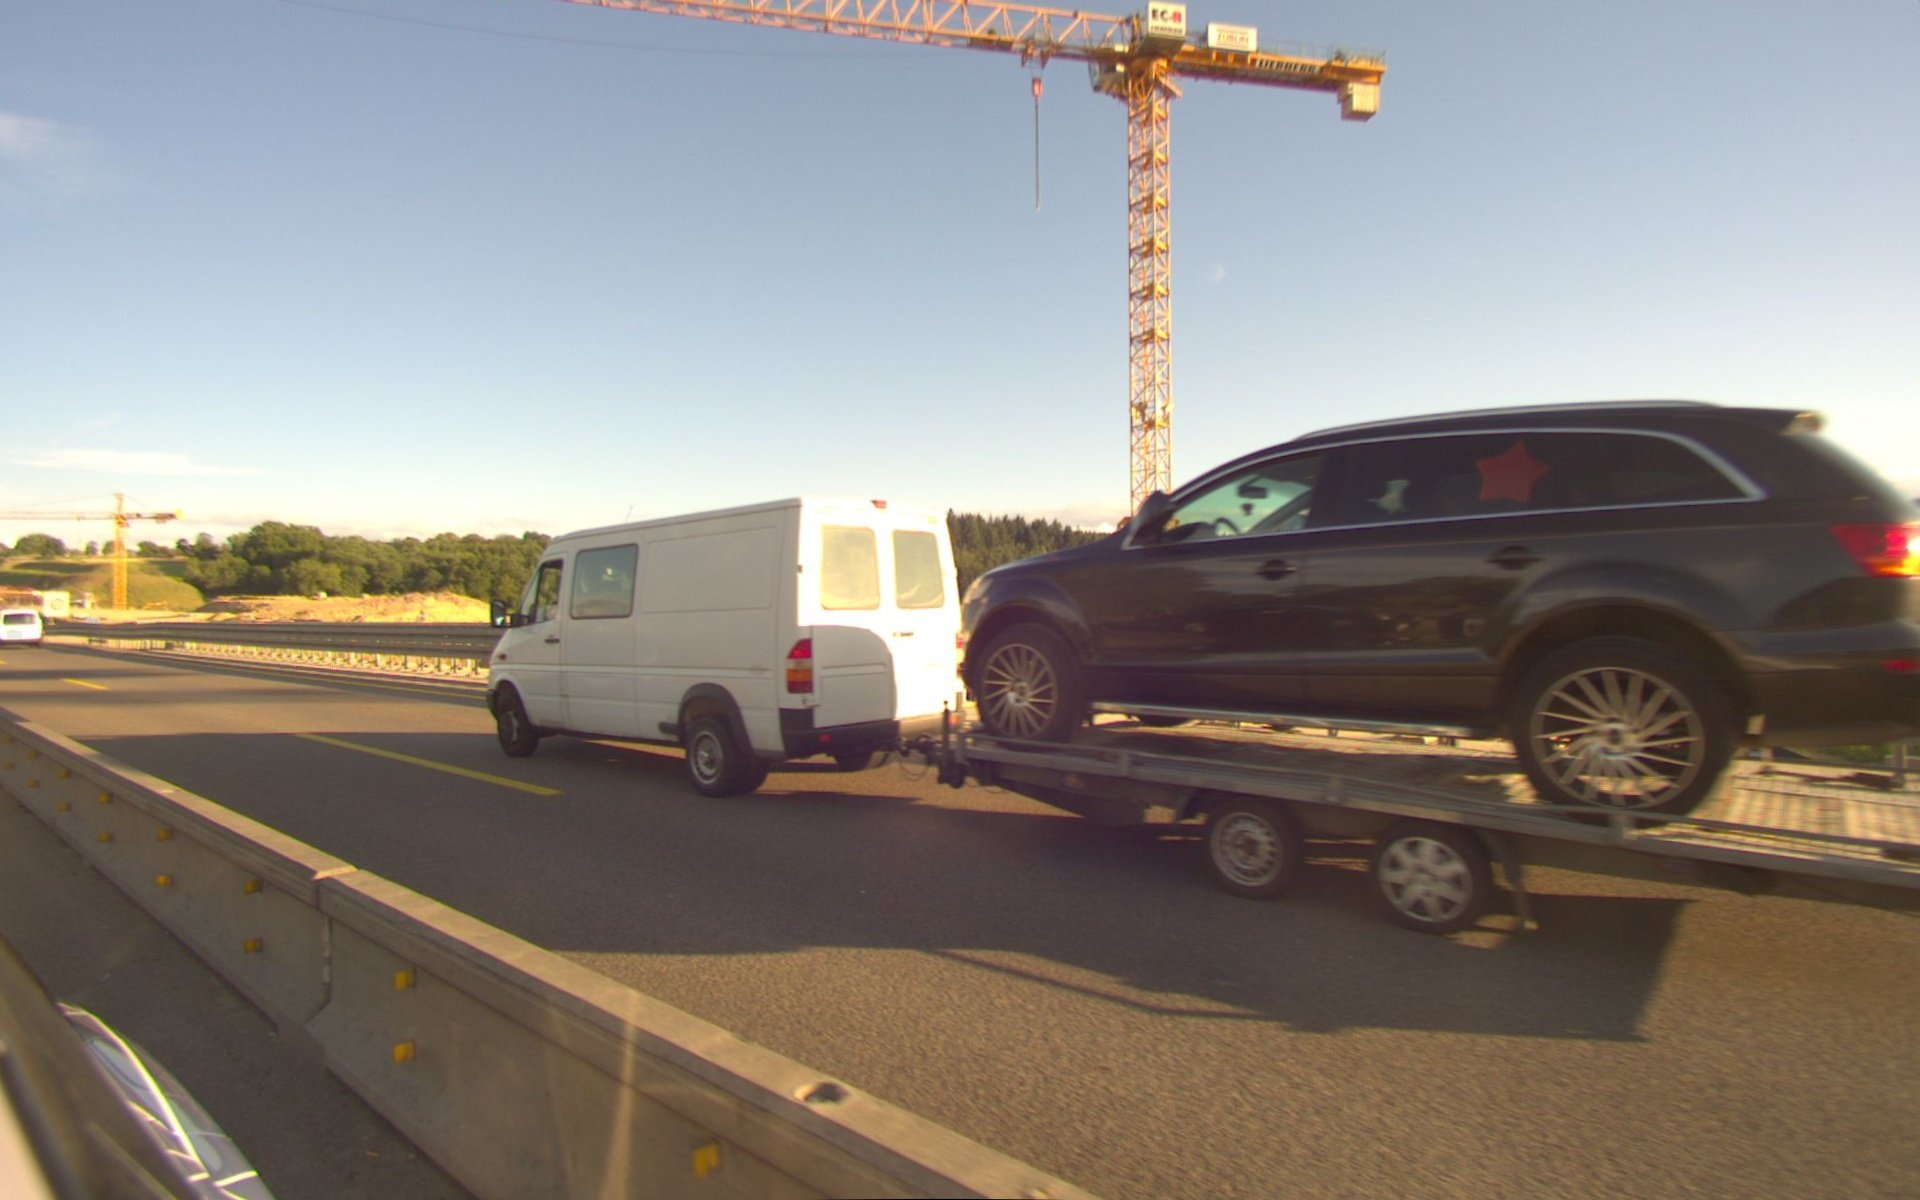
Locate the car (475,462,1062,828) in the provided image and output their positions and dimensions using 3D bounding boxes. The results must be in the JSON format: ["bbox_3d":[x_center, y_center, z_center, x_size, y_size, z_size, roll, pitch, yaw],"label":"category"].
[{"bbox_3d":[-2.088,0.330,9.190,5.931,2.341,1.973,-1,0,41],"label":"car"}]

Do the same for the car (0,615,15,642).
[{"bbox_3d":[-57.815,1.751,60.184,4.287,1.557,1.909,-1,2,42],"label":"car"}]

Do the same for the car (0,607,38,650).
[{"bbox_3d":[-45.098,1.370,47.557,4.278,1.870,1.974,-1,2,40],"label":"car"}]

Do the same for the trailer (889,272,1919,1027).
[{"bbox_3d":[2.218,0.189,5.390,5.215,2.439,2.055,-2,0,41],"label":"trailer"}]
